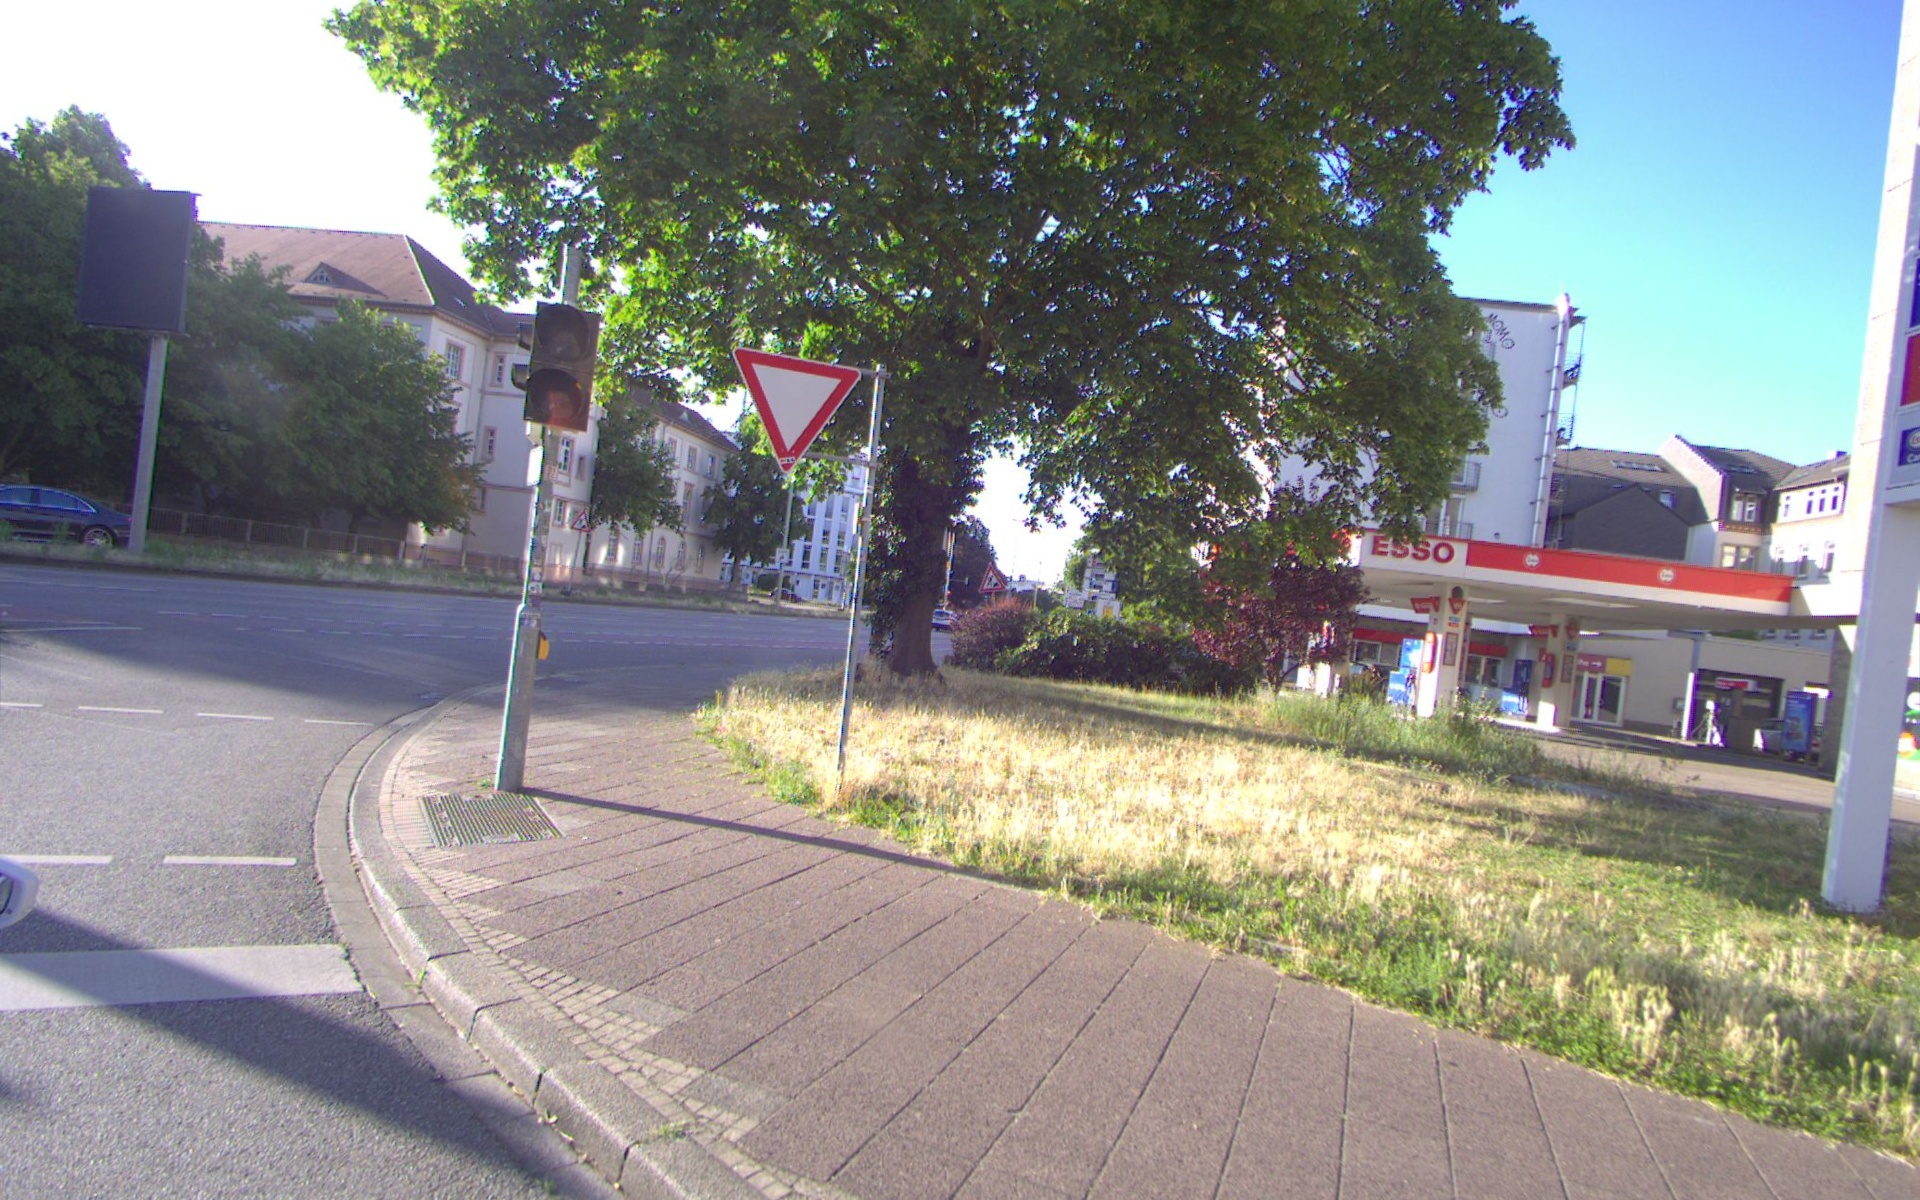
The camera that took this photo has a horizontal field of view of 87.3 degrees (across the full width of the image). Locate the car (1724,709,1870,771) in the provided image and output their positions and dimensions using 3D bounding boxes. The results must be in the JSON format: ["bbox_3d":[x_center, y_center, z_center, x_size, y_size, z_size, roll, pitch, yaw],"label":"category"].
[{"bbox_3d":[28.308,4.689,34.222,1.718,1.437,4.259,7,-1,8],"label":"car"}]

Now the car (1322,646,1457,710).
[{"bbox_3d":[13.451,2.396,31.798,1.966,1.371,3.991,7,1,-9],"label":"car"}]

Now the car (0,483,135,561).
[{"bbox_3d":[-22.385,-1.971,22.852,1.963,1.514,5.293,7,-1,20],"label":"car"}]

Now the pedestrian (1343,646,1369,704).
[{"bbox_3d":[12.223,2.297,31.049,0.413,1.726,0.419,7,1,-9],"label":"pedestrian"}]

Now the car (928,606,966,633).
[{"bbox_3d":[-0.825,1.348,67.832,1.720,1.583,4.052,7,-1,10],"label":"car"}]

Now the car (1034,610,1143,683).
[{"bbox_3d":[3.450,1.251,26.437,1.672,1.593,3.999,7,-1,23],"label":"car"}]

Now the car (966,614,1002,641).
[{"bbox_3d":[1.686,1.868,68.871,1.720,1.583,4.052,7,-1,10],"label":"car"}]

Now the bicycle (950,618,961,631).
[{"bbox_3d":[-0.478,2.380,97.950,0.689,1.113,2.259,7,-1,7],"label":"bicycle"}]

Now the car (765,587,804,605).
[{"bbox_3d":[-19.681,-0.413,112.839,3.748,1.547,1.866,6,-2,6],"label":"car"}]
